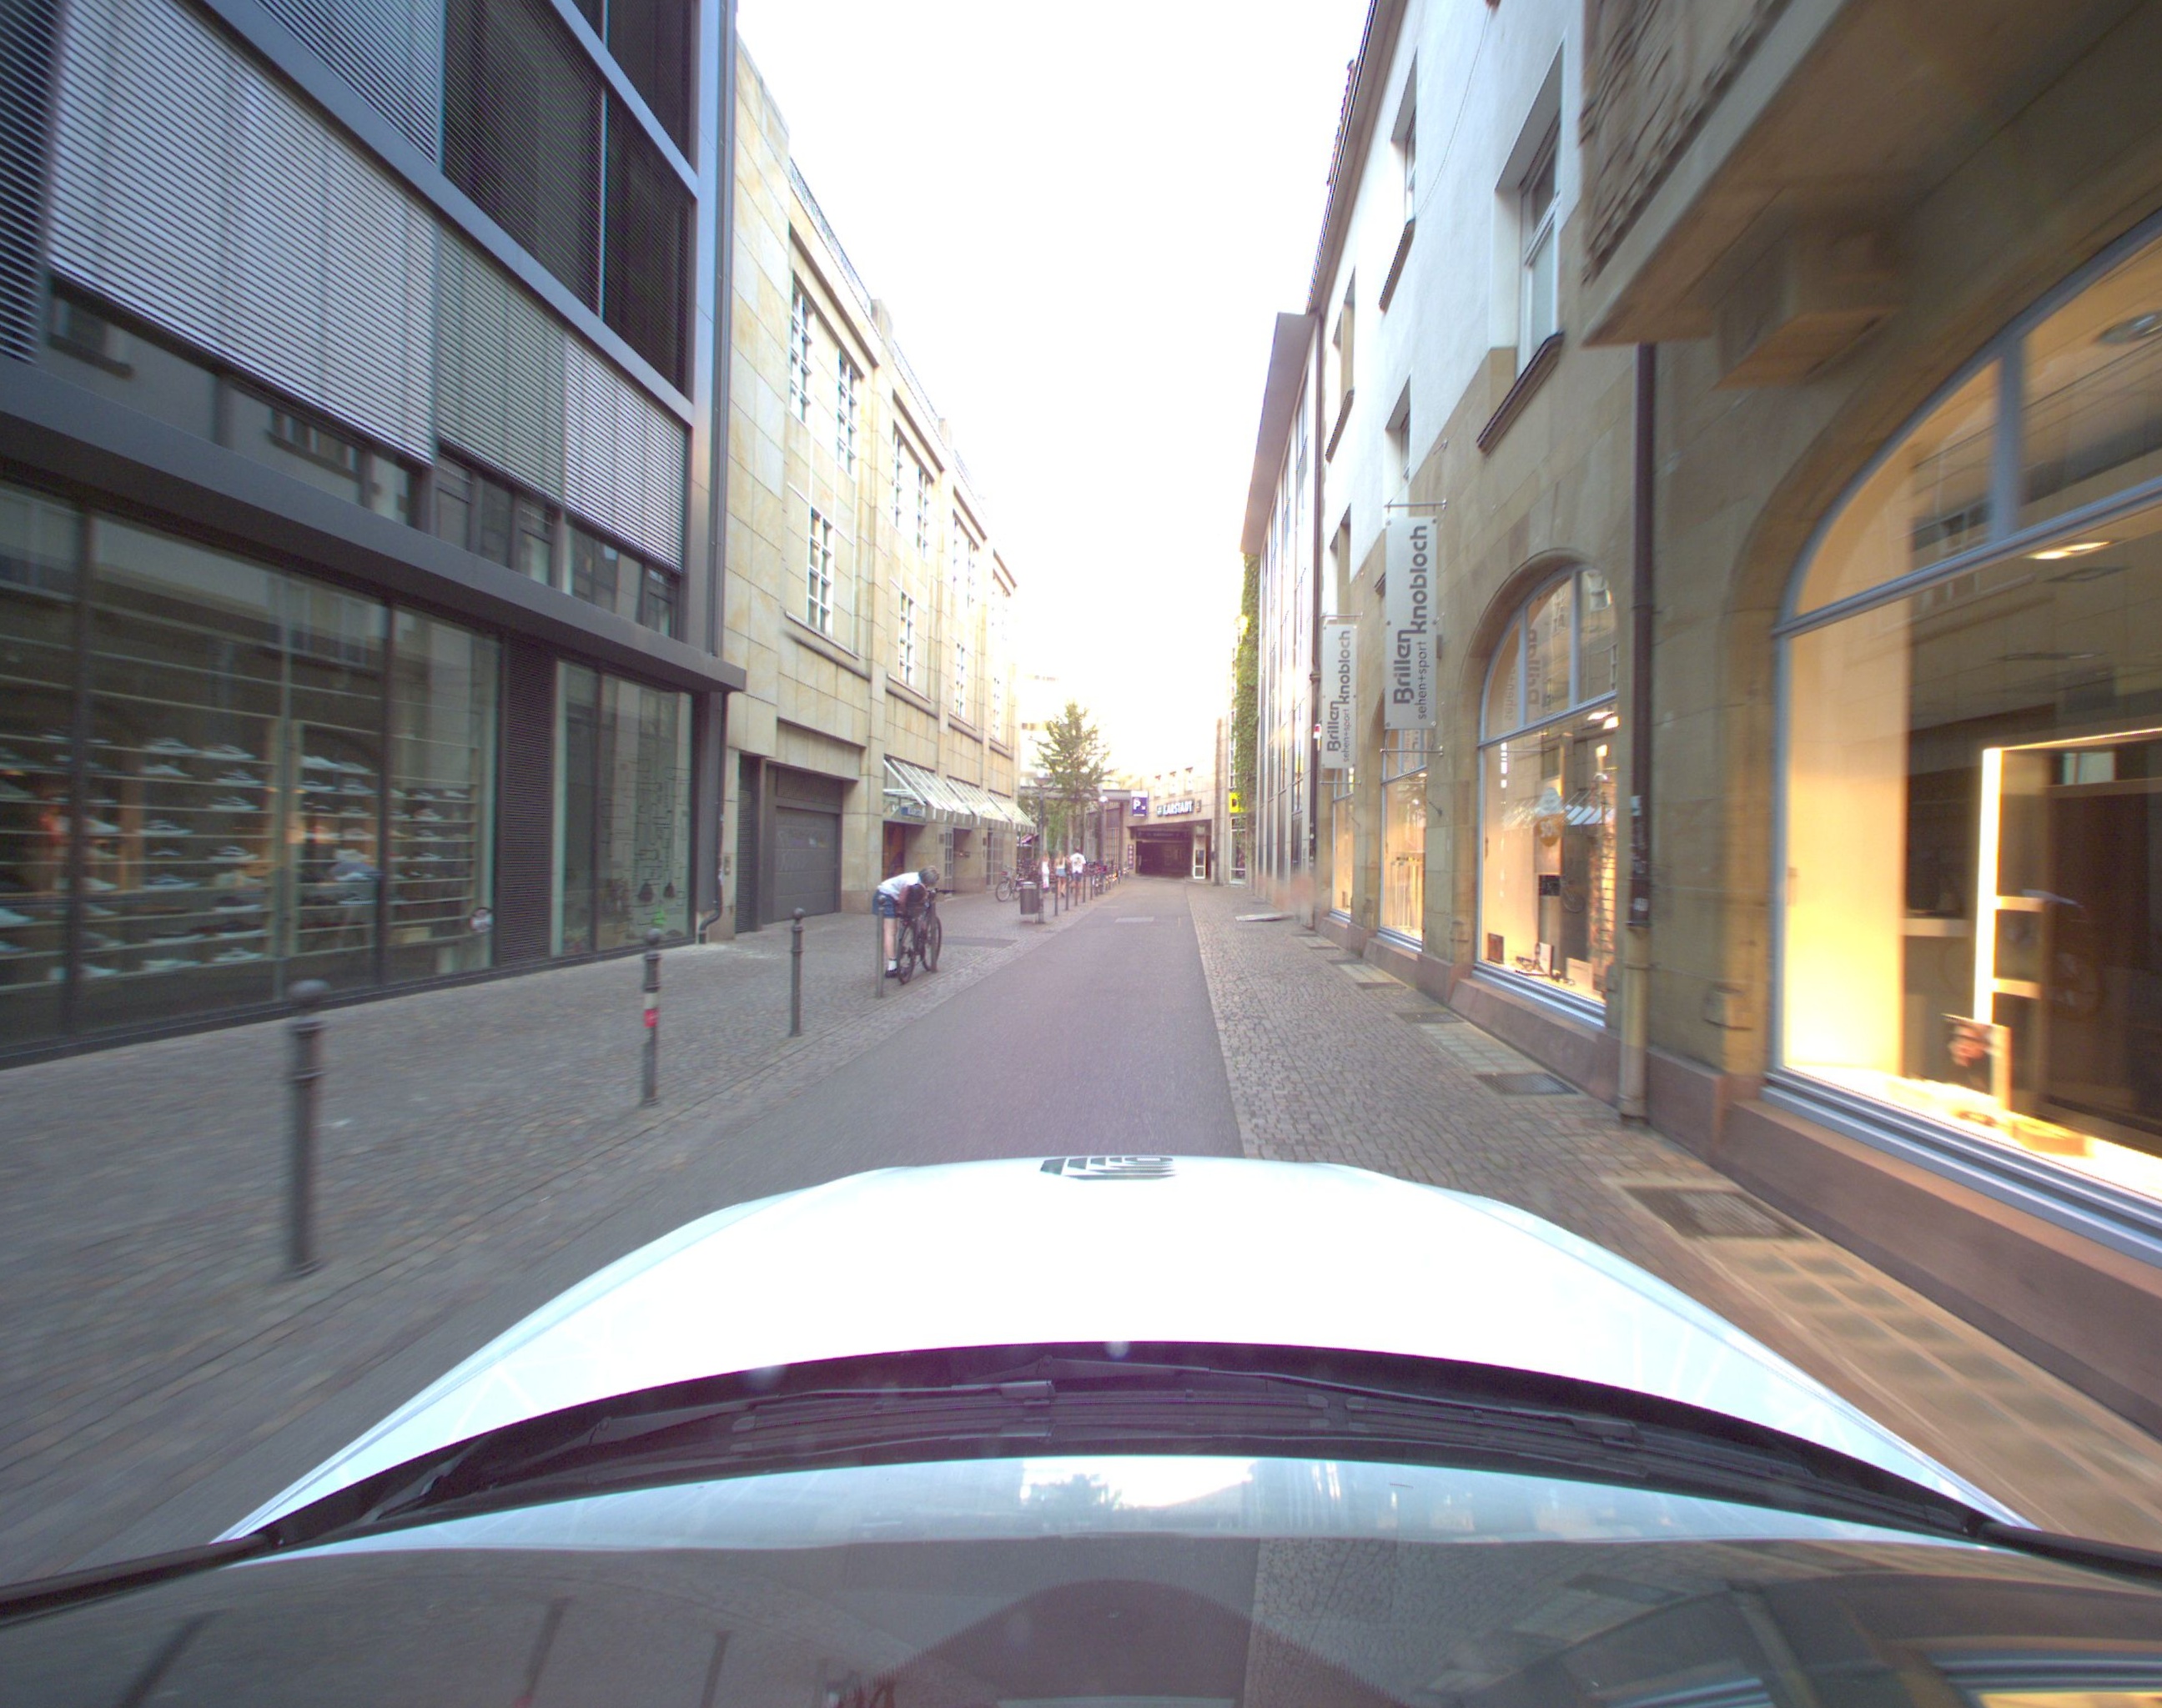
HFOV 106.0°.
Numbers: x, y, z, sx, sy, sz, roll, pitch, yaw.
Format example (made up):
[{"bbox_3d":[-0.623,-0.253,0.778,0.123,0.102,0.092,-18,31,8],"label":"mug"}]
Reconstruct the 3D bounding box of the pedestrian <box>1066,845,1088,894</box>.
[{"bbox_3d":[-0.140,0.575,30.882,0.738,1.822,0.879,0,0,5],"label":"pedestrian"}]

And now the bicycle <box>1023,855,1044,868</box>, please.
[{"bbox_3d":[-4.103,0.684,70.739,1.774,1.114,0.540,0,0,-12],"label":"bicycle"}]

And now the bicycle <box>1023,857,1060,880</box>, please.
[{"bbox_3d":[-2.107,0.777,43.019,1.876,1.177,0.531,0,0,-17],"label":"bicycle"}]

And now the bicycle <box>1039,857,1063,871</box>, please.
[{"bbox_3d":[-2.382,0.760,64.758,1.776,1.114,0.540,0,0,-15],"label":"bicycle"}]

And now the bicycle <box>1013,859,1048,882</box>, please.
[{"bbox_3d":[-2.767,0.881,44.295,1.837,1.225,0.531,0,0,-17],"label":"bicycle"}]

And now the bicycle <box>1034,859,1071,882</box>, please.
[{"bbox_3d":[-1.487,0.838,41.998,1.840,1.122,0.531,0,0,-17],"label":"bicycle"}]

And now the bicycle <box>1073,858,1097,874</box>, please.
[{"bbox_3d":[0.254,0.810,55.332,1.542,1.049,0.572,0,0,-15],"label":"bicycle"}]

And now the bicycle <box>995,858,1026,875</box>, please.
[{"bbox_3d":[-4.348,0.776,50.028,1.829,1.043,0.531,0,0,-17],"label":"bicycle"}]

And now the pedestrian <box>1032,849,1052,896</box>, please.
[{"bbox_3d":[-1.392,0.668,29.313,0.672,1.664,0.860,1,0,0],"label":"pedestrian"}]

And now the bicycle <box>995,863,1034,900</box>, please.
[{"bbox_3d":[-2.140,0.881,26.533,0.517,1.138,1.774,0,0,22],"label":"bicycle"}]

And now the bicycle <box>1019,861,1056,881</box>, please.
[{"bbox_3d":[-2.326,0.886,43.574,1.898,1.052,0.531,0,0,-17],"label":"bicycle"}]

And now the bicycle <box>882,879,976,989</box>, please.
[{"bbox_3d":[-1.843,0.929,10.147,0.530,1.153,1.919,2,0,8],"label":"bicycle"}]

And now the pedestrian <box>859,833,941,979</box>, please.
[{"bbox_3d":[-2.229,0.625,10.081,0.764,1.718,0.593,2,0,5],"label":"pedestrian"}]

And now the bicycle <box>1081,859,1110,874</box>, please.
[{"bbox_3d":[0.939,0.832,53.432,1.851,0.982,0.461,0,0,-15],"label":"bicycle"}]

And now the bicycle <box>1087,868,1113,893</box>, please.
[{"bbox_3d":[0.801,1.064,33.103,0.489,0.939,1.668,2,0,21],"label":"bicycle"}]

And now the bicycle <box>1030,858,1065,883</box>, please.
[{"bbox_3d":[-1.698,0.847,41.122,1.657,1.230,0.531,0,0,-17],"label":"bicycle"}]

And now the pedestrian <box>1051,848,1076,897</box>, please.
[{"bbox_3d":[-0.607,0.649,29.087,0.803,1.729,0.949,1,0,2],"label":"pedestrian"}]

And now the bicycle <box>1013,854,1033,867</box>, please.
[{"bbox_3d":[-5.408,0.639,76.092,1.776,1.190,0.583,0,0,-15],"label":"bicycle"}]

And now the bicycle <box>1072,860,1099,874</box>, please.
[{"bbox_3d":[0.301,0.874,54.351,1.776,0.904,0.461,0,0,-15],"label":"bicycle"}]

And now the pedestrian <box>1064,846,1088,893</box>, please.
[{"bbox_3d":[-0.197,0.597,32.044,0.780,1.795,0.974,0,0,9],"label":"pedestrian"}]

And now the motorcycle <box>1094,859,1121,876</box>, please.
[{"bbox_3d":[1.657,0.845,51.627,1.665,1.050,0.461,0,0,-15],"label":"motorcycle"}]

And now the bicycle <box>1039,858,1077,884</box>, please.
[{"bbox_3d":[-1.127,0.826,39.779,1.770,1.230,0.531,0,0,-17],"label":"bicycle"}]
